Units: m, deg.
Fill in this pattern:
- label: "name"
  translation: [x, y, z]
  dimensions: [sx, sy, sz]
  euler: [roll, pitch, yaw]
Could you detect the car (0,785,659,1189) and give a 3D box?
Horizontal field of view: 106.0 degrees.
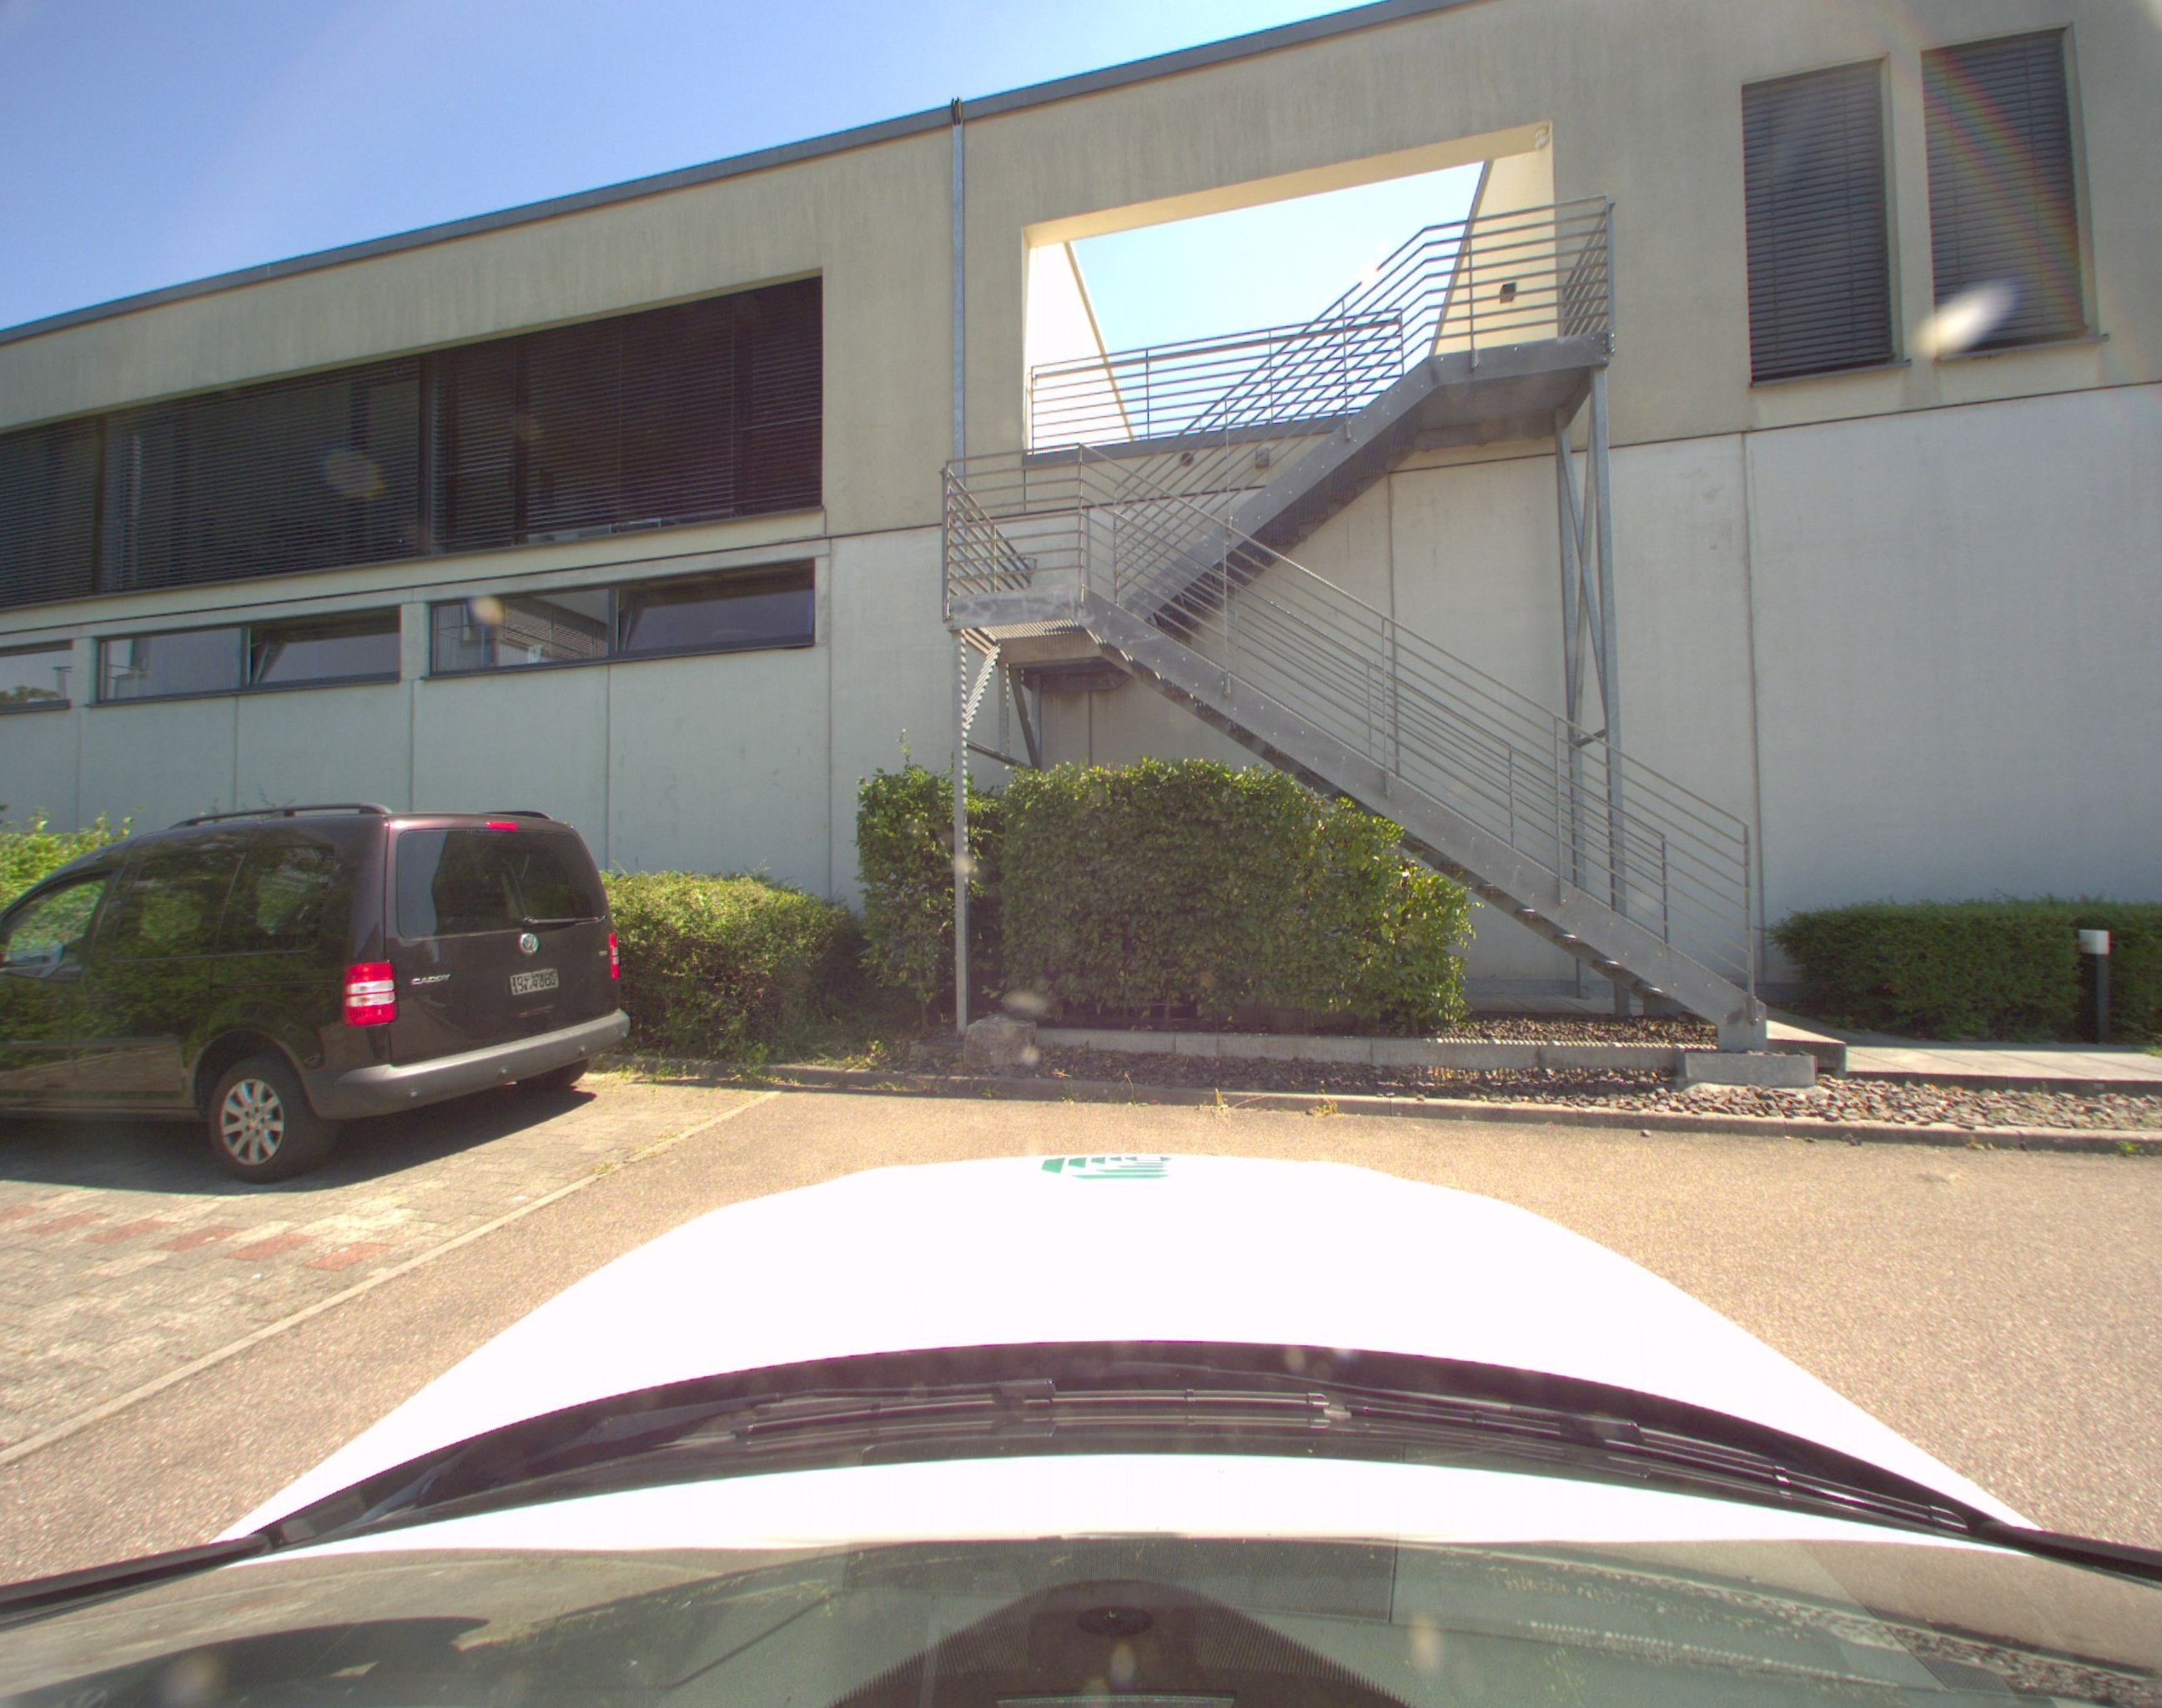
- label: "car"
  translation: [-4.997, 0.658, 5.101]
  dimensions: [4.029, 1.884, 1.685]
  euler: [-1, -1, 14]
